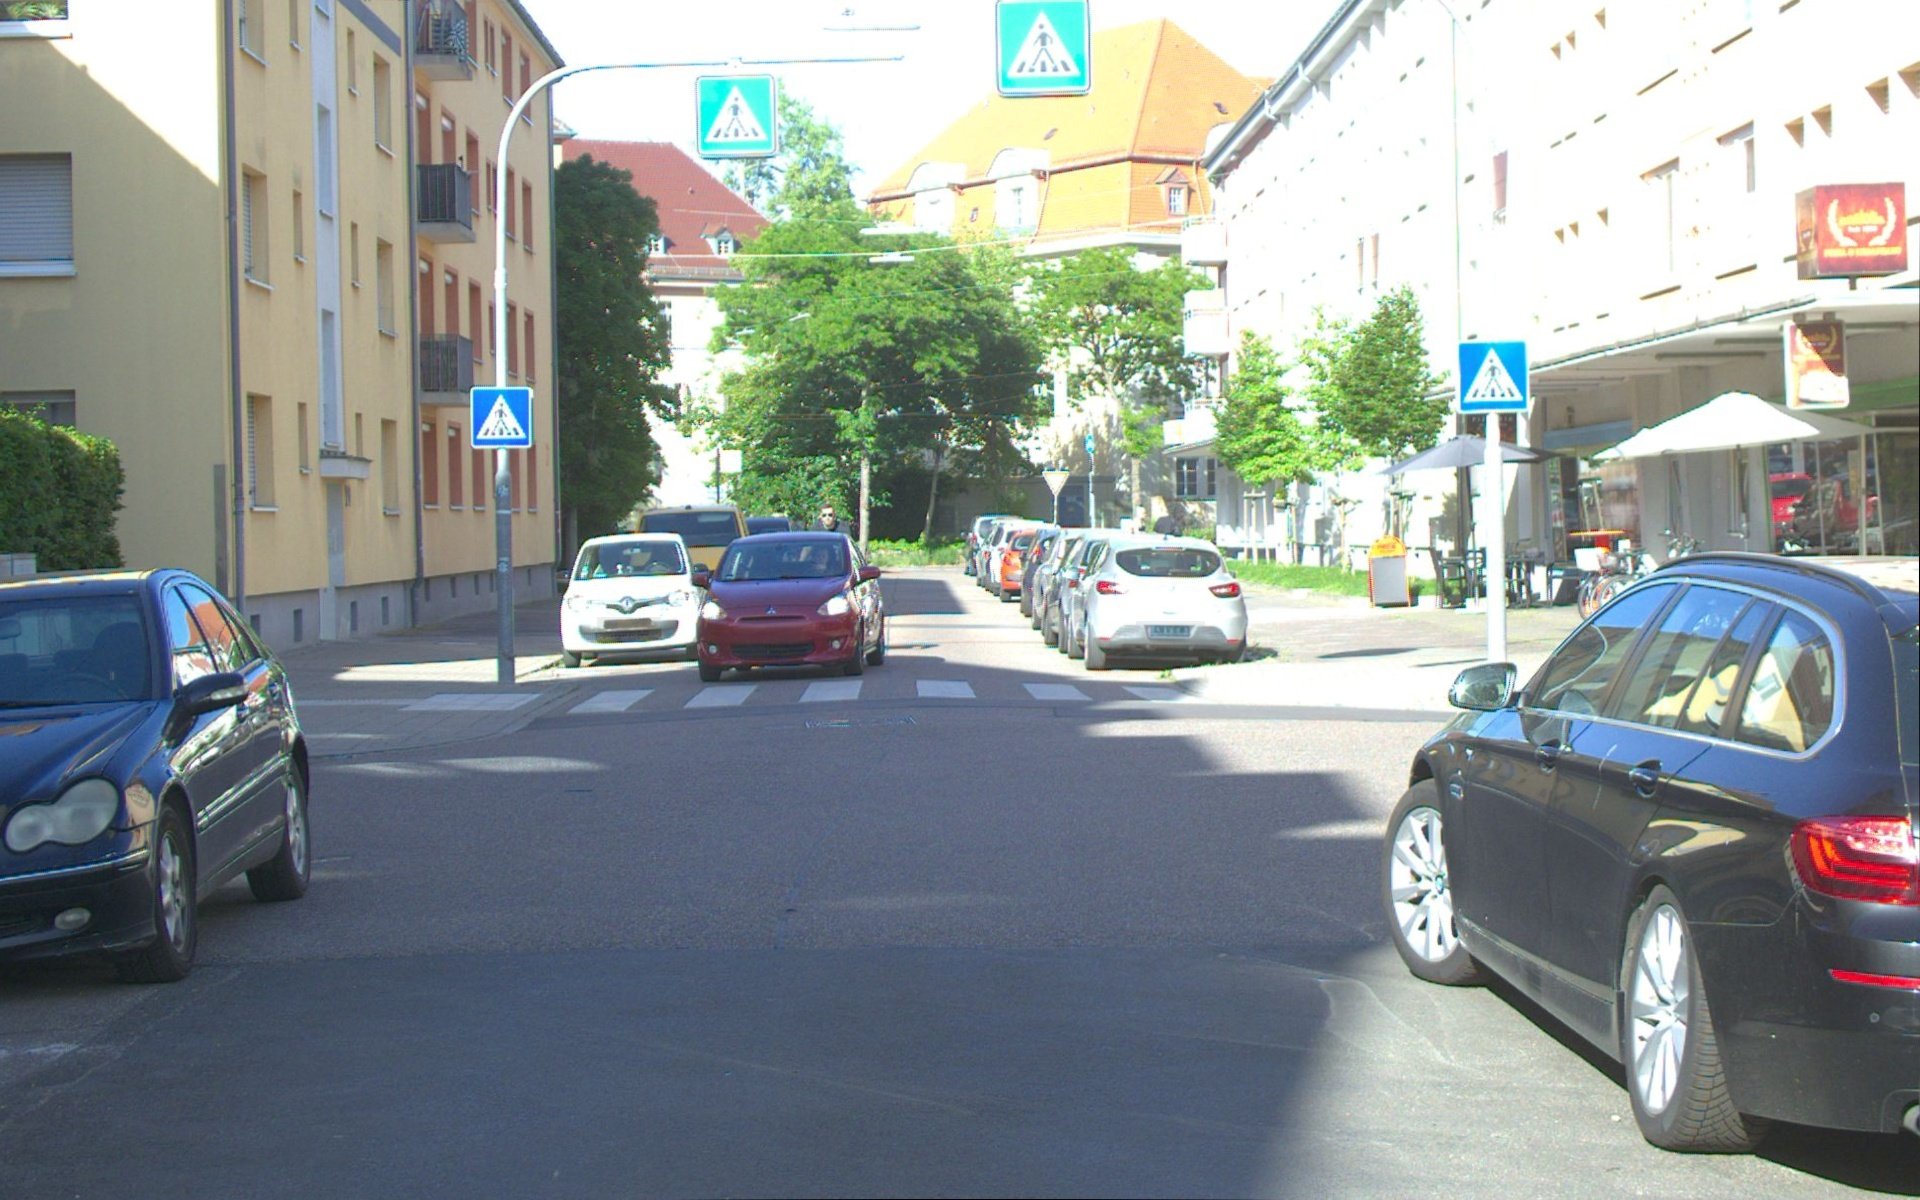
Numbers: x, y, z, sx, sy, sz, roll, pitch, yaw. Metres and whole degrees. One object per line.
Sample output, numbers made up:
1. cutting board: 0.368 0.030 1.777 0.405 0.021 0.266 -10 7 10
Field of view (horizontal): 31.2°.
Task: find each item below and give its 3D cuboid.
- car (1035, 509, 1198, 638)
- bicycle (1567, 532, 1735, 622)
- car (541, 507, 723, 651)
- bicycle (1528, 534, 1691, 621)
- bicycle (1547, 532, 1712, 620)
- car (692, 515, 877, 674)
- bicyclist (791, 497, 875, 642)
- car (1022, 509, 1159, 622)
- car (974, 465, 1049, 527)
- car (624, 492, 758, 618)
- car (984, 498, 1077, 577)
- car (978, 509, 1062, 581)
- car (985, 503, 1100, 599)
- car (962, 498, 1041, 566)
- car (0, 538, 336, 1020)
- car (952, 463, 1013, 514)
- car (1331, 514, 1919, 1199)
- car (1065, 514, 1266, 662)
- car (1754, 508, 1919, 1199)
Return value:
1. car: 1.902 -0.362 42.733 1.690 1.435 3.419 -2 2 -2
2. bicycle: 8.209 -0.276 40.852 1.806 0.964 0.674 -3 2 -11
3. car: -3.972 -0.298 42.195 1.791 1.475 4.099 -4 3 0
4. bicycle: 7.948 -0.286 42.098 1.806 0.964 0.674 -3 2 -11
5. bicycle: 8.065 -0.296 41.447 1.806 0.964 0.674 -3 2 -11
6. car: -1.757 -0.099 35.345 1.697 1.435 3.419 -2 2 0
7. bicyclist: -1.484 -0.362 40.329 0.786 1.615 0.956 -4 2 4
8. car: 1.828 -0.519 48.931 1.637 1.435 3.419 -2 2 -2
9. car: 1.244 -2.573 84.559 1.637 1.435 3.419 -2 2 -2
10. car: -4.097 -0.729 52.868 1.697 1.772 4.099 -2 2 0
11. car: 1.390 -1.275 68.906 1.637 1.435 3.419 -2 2 -2
12. car: 1.294 -1.216 75.241 1.637 1.435 3.419 -2 2 -2
13. car: 1.340 -0.832 56.952 1.637 1.435 3.419 -2 2 -2
14. car: 0.949 -1.592 79.803 1.637 1.435 3.419 -2 2 -2
15. car: -3.526 0.583 12.754 1.703 1.411 4.375 -7 2 -3
16. car: 0.665 -3.375 103.748 1.637 1.435 3.419 -2 2 -2
17. car: 2.333 0.552 9.297 1.853 1.518 4.778 -2 2 -3
18. car: 2.218 -0.168 37.899 1.845 1.435 3.419 -2 2 -2
19. car: 2.485 0.584 4.740 1.645 1.455 3.940 -2 2 -3
